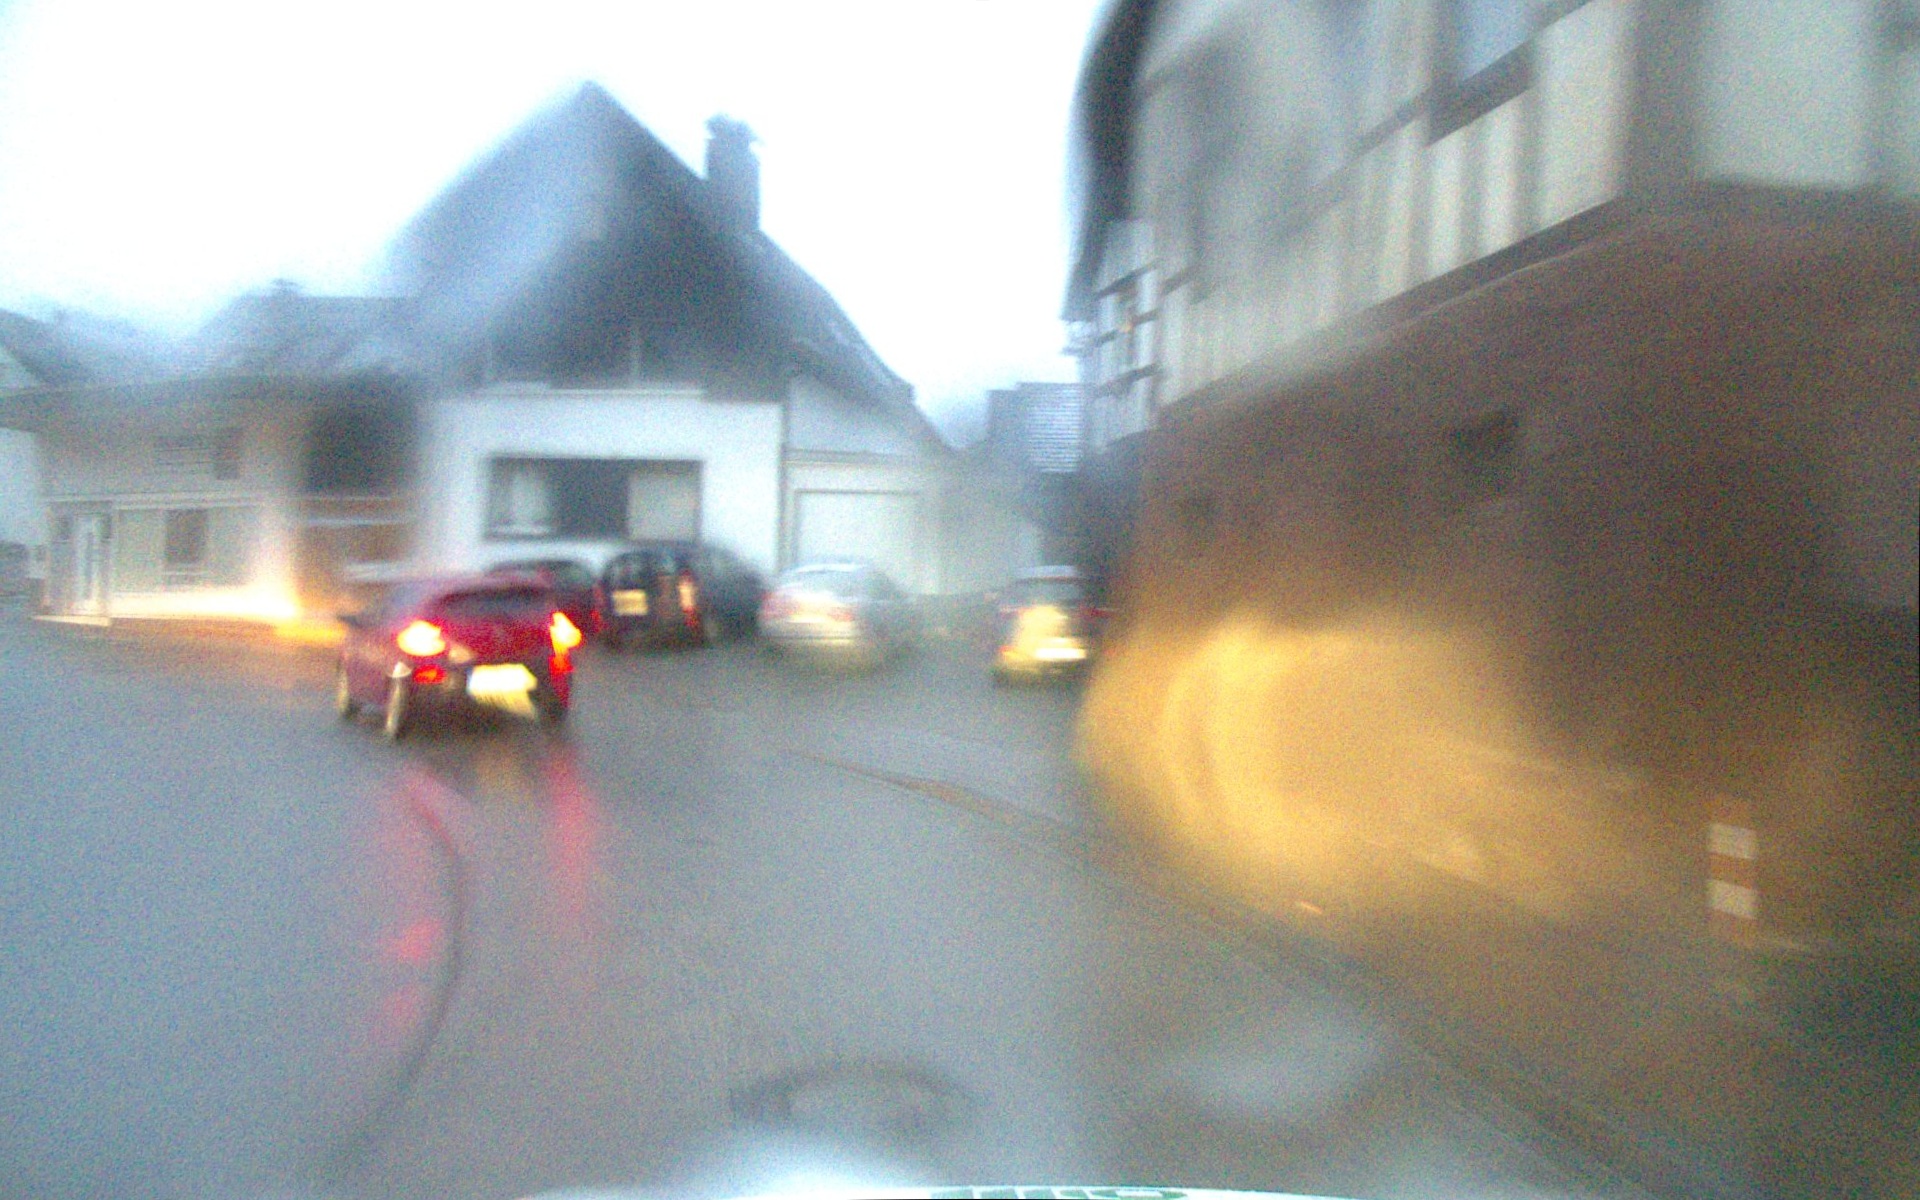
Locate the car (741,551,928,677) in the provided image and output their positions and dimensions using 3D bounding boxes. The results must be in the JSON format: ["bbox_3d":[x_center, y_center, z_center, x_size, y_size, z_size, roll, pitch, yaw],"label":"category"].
[{"bbox_3d":[-1.744,0.140,24.428,1.771,1.444,4.044,-2,4,10],"label":"car"}]

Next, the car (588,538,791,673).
[{"bbox_3d":[-4.140,0.006,26.144,1.810,1.689,4.483,-2,4,8],"label":"car"}]

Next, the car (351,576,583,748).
[{"bbox_3d":[-4.965,0.517,16.369,1.528,1.491,3.665,0,0,-28],"label":"car"}]

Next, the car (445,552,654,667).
[{"bbox_3d":[-6.610,0.094,27.095,1.842,1.474,3.899,-2,4,10],"label":"car"}]

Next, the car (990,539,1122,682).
[{"bbox_3d":[1.288,0.064,22.355,1.559,1.541,3.988,-3,4,3],"label":"car"}]
